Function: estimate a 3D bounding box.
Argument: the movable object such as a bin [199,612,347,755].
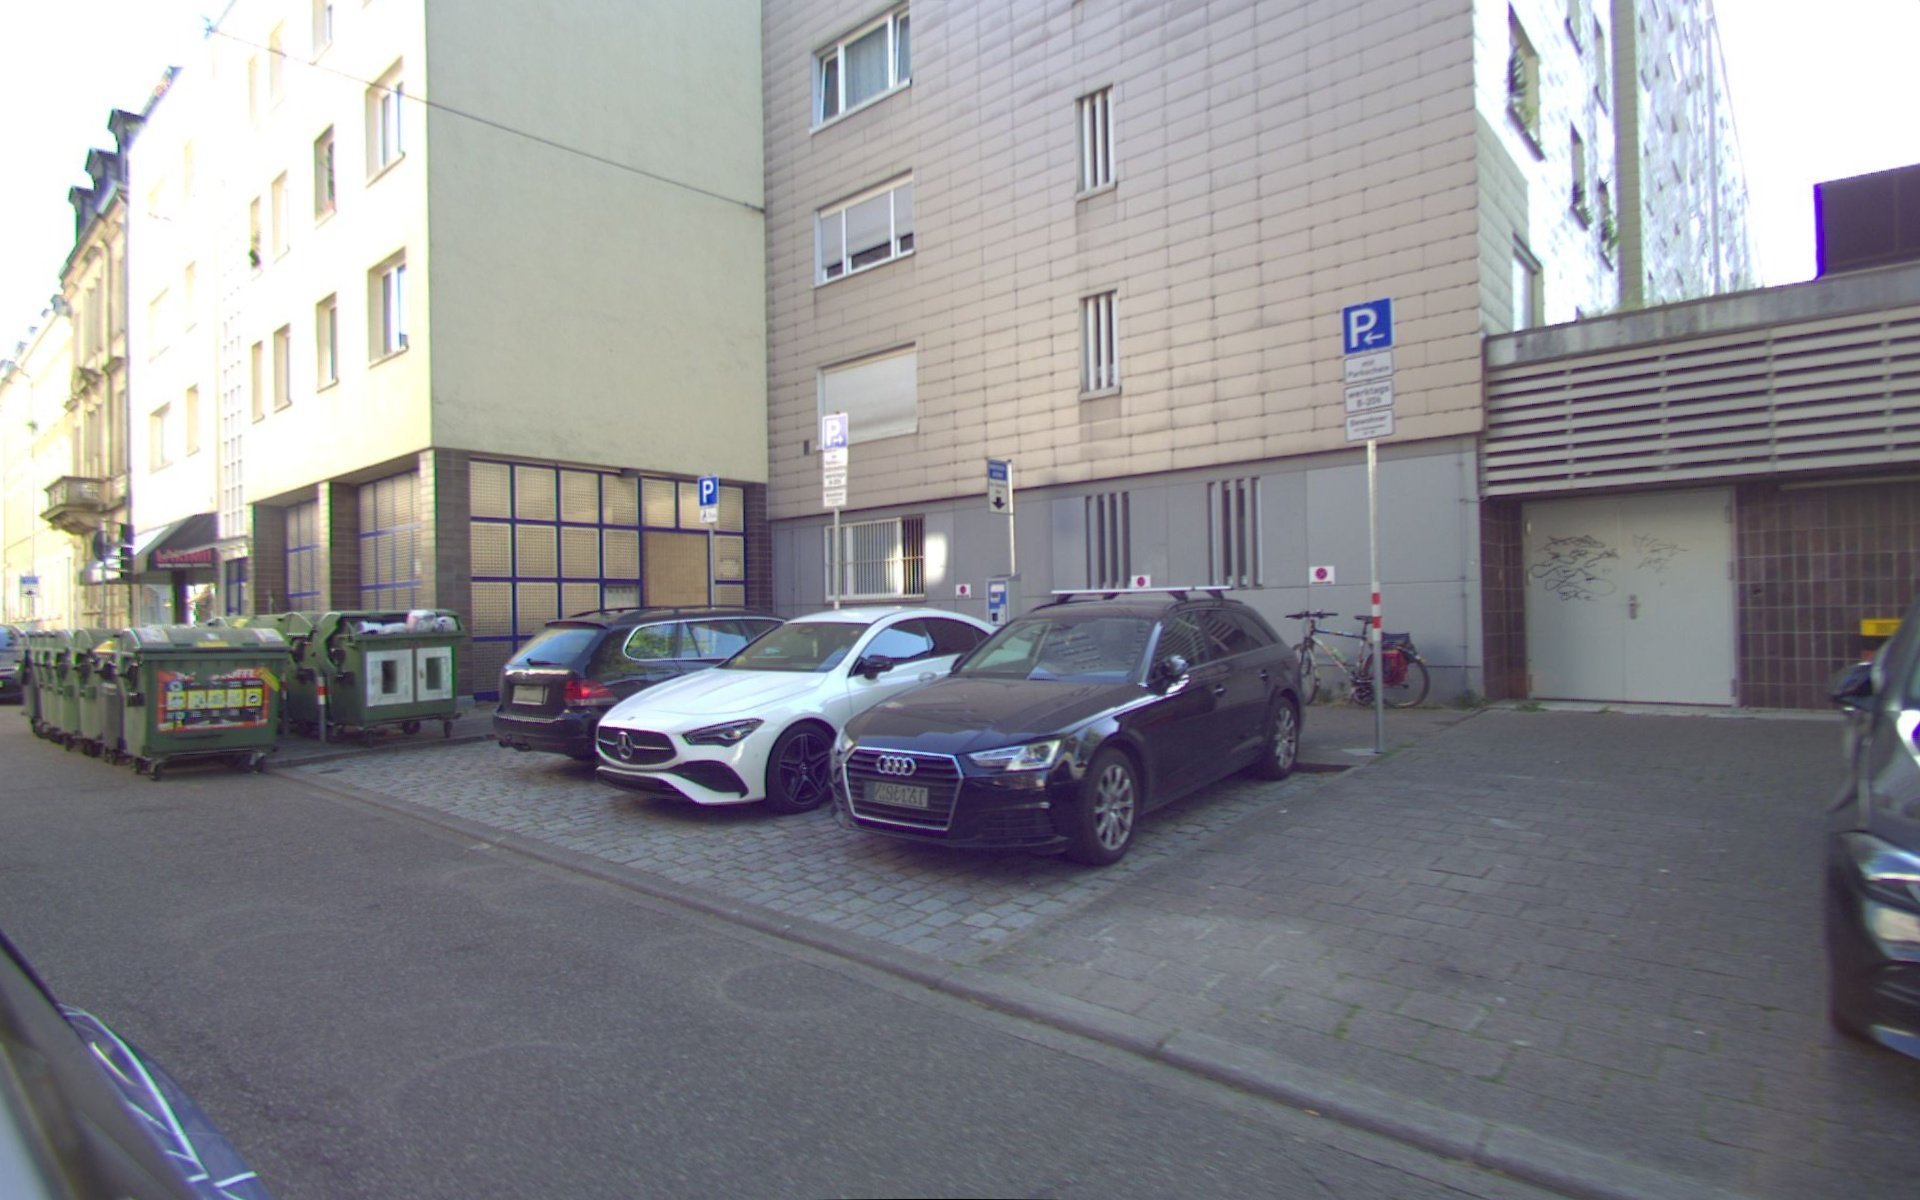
[{"bbox_3d":[-8.434,0.974,12.435,1.081,1.616,1.275,-1,-1,41],"label":"movable object such as a bin"}]

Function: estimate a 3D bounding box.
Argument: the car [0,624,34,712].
[{"bbox_3d":[-20.489,1.365,20.705,4.668,1.679,1.764,-2,-3,41],"label":"car"}]

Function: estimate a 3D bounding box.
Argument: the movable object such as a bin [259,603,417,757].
[{"bbox_3d":[-7.272,0.878,11.845,1.171,1.665,1.217,-1,-1,35],"label":"movable object such as a bin"}]

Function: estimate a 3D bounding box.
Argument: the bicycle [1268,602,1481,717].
[{"bbox_3d":[4.469,0.629,11.026,2.037,1.132,0.603,-3,-1,41],"label":"bicycle"}]

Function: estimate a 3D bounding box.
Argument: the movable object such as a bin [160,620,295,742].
[{"bbox_3d":[-9.980,1.052,13.804,1.017,1.534,1.288,-1,-1,41],"label":"movable object such as a bin"}]

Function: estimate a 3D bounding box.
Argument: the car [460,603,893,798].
[{"bbox_3d":[-2.660,0.820,10.174,1.825,1.516,3.836,-1,0,40],"label":"car"}]

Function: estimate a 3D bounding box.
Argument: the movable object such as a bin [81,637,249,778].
[{"bbox_3d":[-8.428,1.087,10.741,1.045,1.332,1.228,-1,-1,41],"label":"movable object such as a bin"}]

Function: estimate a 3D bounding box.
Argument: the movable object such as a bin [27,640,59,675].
[{"bbox_3d":[-31.250,1.947,34.478,0.584,1.140,0.712,-1,-1,37],"label":"movable object such as a bin"}]

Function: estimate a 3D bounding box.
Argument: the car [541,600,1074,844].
[{"bbox_3d":[-1.037,0.786,8.666,1.956,1.436,4.298,-1,1,40],"label":"car"}]

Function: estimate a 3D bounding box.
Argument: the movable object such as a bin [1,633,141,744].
[{"bbox_3d":[-12.529,1.201,14.269,1.186,1.461,1.306,-1,-3,41],"label":"movable object such as a bin"}]

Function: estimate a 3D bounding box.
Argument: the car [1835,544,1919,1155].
[{"bbox_3d":[4.486,0.524,3.634,1.928,1.481,4.453,-2,2,42],"label":"car"}]

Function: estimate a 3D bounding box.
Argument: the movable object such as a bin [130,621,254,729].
[{"bbox_3d":[-11.622,1.089,15.321,1.178,1.509,1.283,-1,-1,41],"label":"movable object such as a bin"}]

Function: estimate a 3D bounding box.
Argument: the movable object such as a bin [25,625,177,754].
[{"bbox_3d":[-10.860,1.076,12.812,1.002,1.498,1.334,-1,-1,41],"label":"movable object such as a bin"}]

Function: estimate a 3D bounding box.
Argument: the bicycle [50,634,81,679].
[{"bbox_3d":[-26.866,1.669,30.392,1.867,1.286,0.505,-1,-1,43],"label":"bicycle"}]

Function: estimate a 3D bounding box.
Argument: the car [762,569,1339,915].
[{"bbox_3d":[0.960,0.631,7.117,1.914,1.622,4.423,-1,1,38],"label":"car"}]

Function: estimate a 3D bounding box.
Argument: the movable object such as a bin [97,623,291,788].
[{"bbox_3d":[-7.584,0.977,10.041,1.116,1.462,1.288,-1,-1,37],"label":"movable object such as a bin"}]

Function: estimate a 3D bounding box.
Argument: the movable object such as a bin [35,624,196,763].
[{"bbox_3d":[-10.094,1.062,12.115,1.017,1.510,1.329,-1,-1,41],"label":"movable object such as a bin"}]

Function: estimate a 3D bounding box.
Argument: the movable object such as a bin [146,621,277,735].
[{"bbox_3d":[-10.757,1.068,14.551,1.156,1.510,1.292,-1,-1,41],"label":"movable object such as a bin"}]

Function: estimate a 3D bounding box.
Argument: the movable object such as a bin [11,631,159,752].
[{"bbox_3d":[-11.649,1.171,13.493,1.093,1.495,1.320,-1,-3,41],"label":"movable object such as a bin"}]

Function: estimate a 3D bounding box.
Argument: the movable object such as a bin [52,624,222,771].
[{"bbox_3d":[-9.280,1.039,11.425,1.081,1.502,1.320,-1,-1,41],"label":"movable object such as a bin"}]

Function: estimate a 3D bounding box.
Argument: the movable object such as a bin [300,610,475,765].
[{"bbox_3d":[-6.310,0.910,11.185,1.118,1.561,1.341,-1,-1,35],"label":"movable object such as a bin"}]

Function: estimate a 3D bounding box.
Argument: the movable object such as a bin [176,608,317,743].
[{"bbox_3d":[-9.246,0.927,13.125,1.017,1.633,1.281,-1,-1,41],"label":"movable object such as a bin"}]
